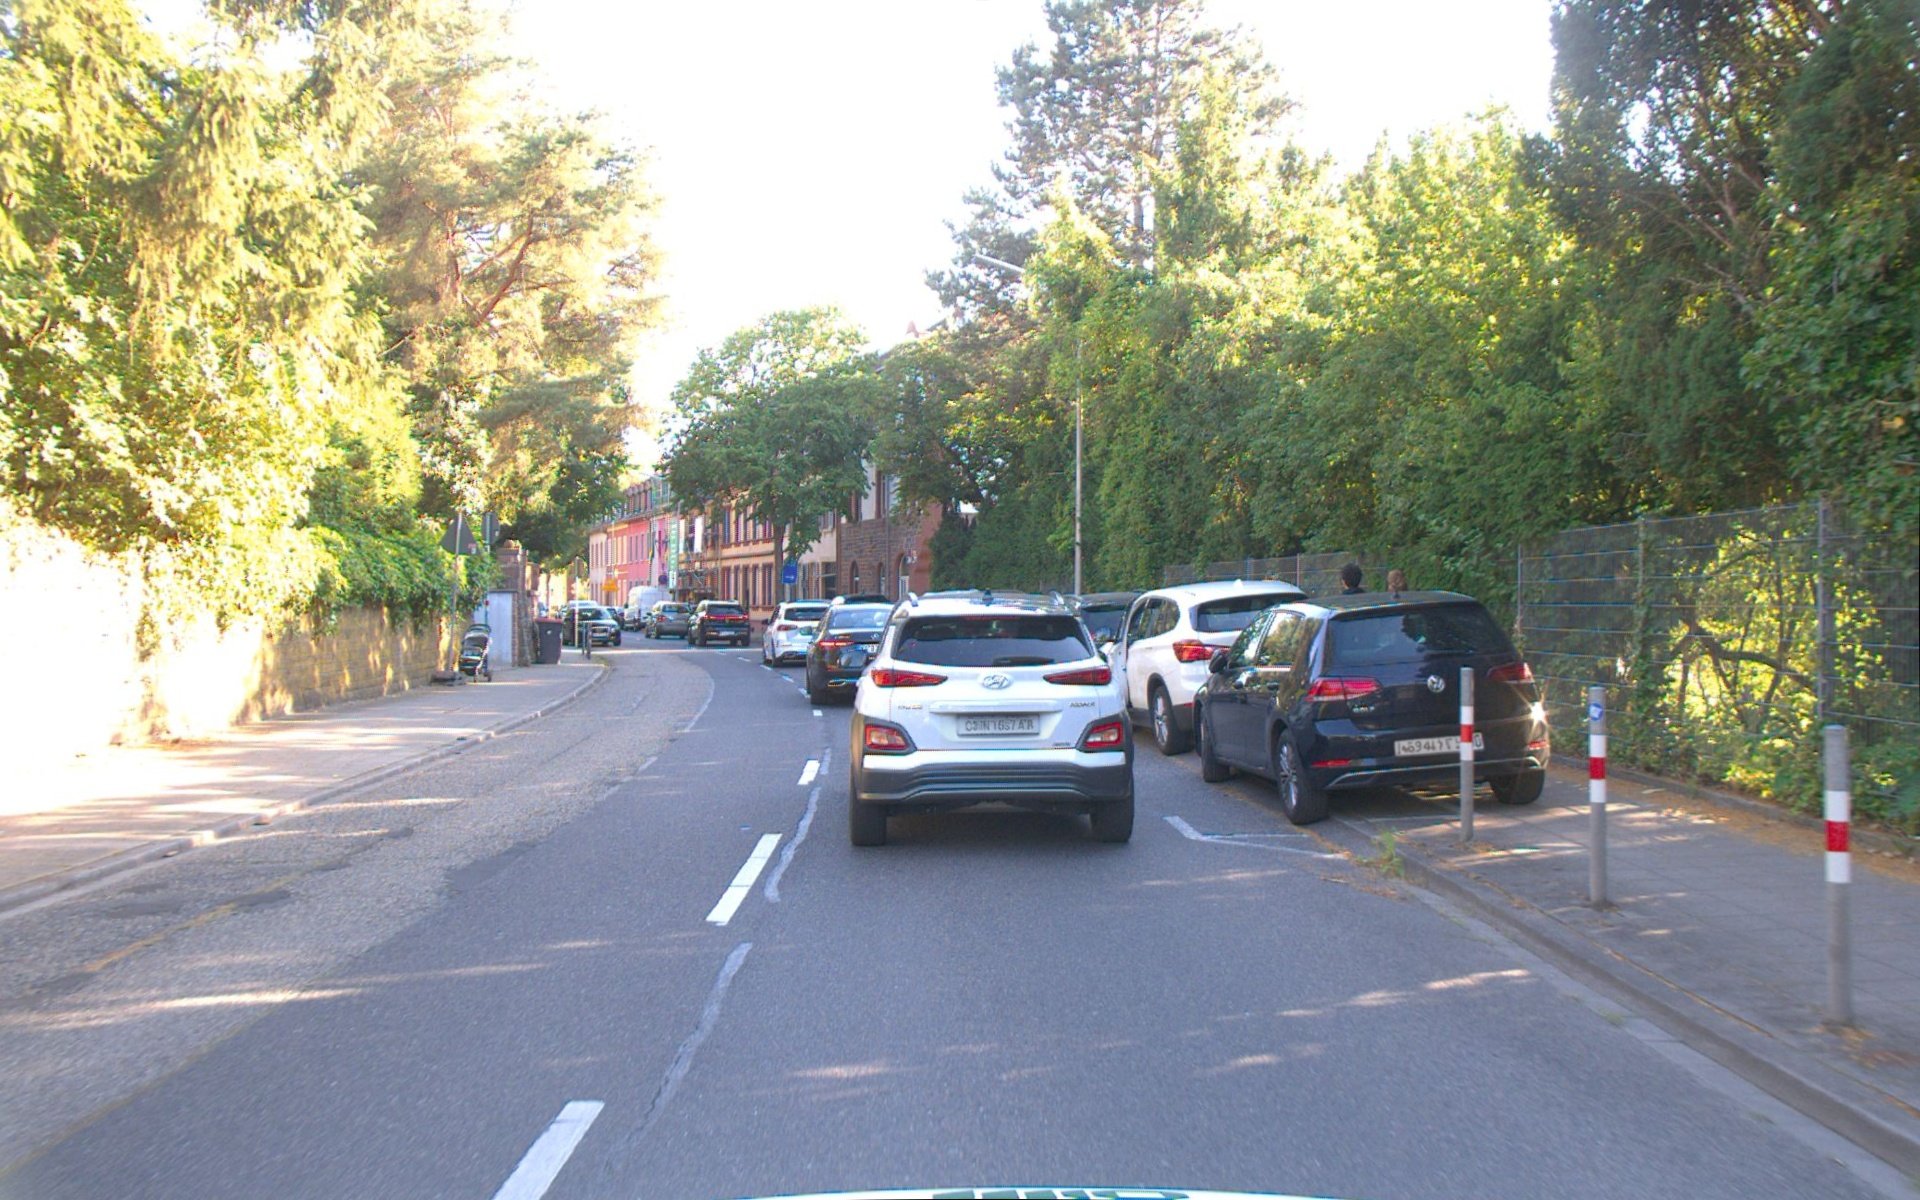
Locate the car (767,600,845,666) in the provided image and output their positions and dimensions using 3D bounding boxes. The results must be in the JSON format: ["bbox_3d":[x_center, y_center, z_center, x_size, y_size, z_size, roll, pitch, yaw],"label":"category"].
[{"bbox_3d":[-3.789,0.764,40.204,1.542,1.503,3.538,1,0,-11],"label":"car"}]

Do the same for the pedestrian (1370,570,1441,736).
[{"bbox_3d":[4.384,0.513,16.289,0.493,1.596,0.503,-2,0,-1],"label":"pedestrian"}]

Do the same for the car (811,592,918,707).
[{"bbox_3d":[-1.407,0.679,24.739,1.481,1.560,3.546,0,0,-3],"label":"car"}]

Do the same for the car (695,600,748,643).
[{"bbox_3d":[-8.564,0.758,59.293,1.566,1.486,3.087,0,0,-15],"label":"car"}]

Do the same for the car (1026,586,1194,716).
[{"bbox_3d":[1.964,0.644,22.664,1.562,1.545,3.928,-3,0,-5],"label":"car"}]

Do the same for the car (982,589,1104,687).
[{"bbox_3d":[1.370,0.606,28.544,1.562,1.515,3.598,-3,0,-5],"label":"car"}]

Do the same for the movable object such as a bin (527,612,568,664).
[{"bbox_3d":[-9.906,0.911,39.761,0.776,1.210,0.772,1,-1,-2],"label":"movable object such as a bin"}]

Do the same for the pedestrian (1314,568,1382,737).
[{"bbox_3d":[3.847,0.510,16.412,0.493,1.634,0.491,-2,0,-1],"label":"pedestrian"}]

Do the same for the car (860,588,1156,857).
[{"bbox_3d":[0.204,0.716,11.703,1.736,1.569,3.998,0,0,-2],"label":"car"}]

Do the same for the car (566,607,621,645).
[{"bbox_3d":[-13.479,0.937,60.671,1.569,1.341,3.791,0,0,-19],"label":"car"}]

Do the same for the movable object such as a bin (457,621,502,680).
[{"bbox_3d":[-8.633,0.899,29.735,0.485,1.029,1.112,1,-1,-1],"label":"movable object such as a bin"}]

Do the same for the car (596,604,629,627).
[{"bbox_3d":[-19.823,0.857,94.339,1.503,1.282,3.343,0,0,-18],"label":"car"}]

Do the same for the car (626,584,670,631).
[{"bbox_3d":[-18.102,0.426,95.845,1.900,2.628,4.369,-1,0,-19],"label":"car"}]

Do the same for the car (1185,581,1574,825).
[{"bbox_3d":[2.906,0.636,12.362,1.653,1.456,3.997,-2,0,-3],"label":"car"}]

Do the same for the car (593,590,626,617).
[{"bbox_3d":[-25.503,0.259,120.176,1.693,1.970,3.974,-1,0,-21],"label":"car"}]

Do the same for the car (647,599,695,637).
[{"bbox_3d":[-12.553,0.756,71.650,1.565,1.610,3.343,0,0,-19],"label":"car"}]

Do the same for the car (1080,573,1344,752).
[{"bbox_3d":[2.504,0.595,17.391,1.564,1.592,3.991,-2,0,-9],"label":"car"}]
